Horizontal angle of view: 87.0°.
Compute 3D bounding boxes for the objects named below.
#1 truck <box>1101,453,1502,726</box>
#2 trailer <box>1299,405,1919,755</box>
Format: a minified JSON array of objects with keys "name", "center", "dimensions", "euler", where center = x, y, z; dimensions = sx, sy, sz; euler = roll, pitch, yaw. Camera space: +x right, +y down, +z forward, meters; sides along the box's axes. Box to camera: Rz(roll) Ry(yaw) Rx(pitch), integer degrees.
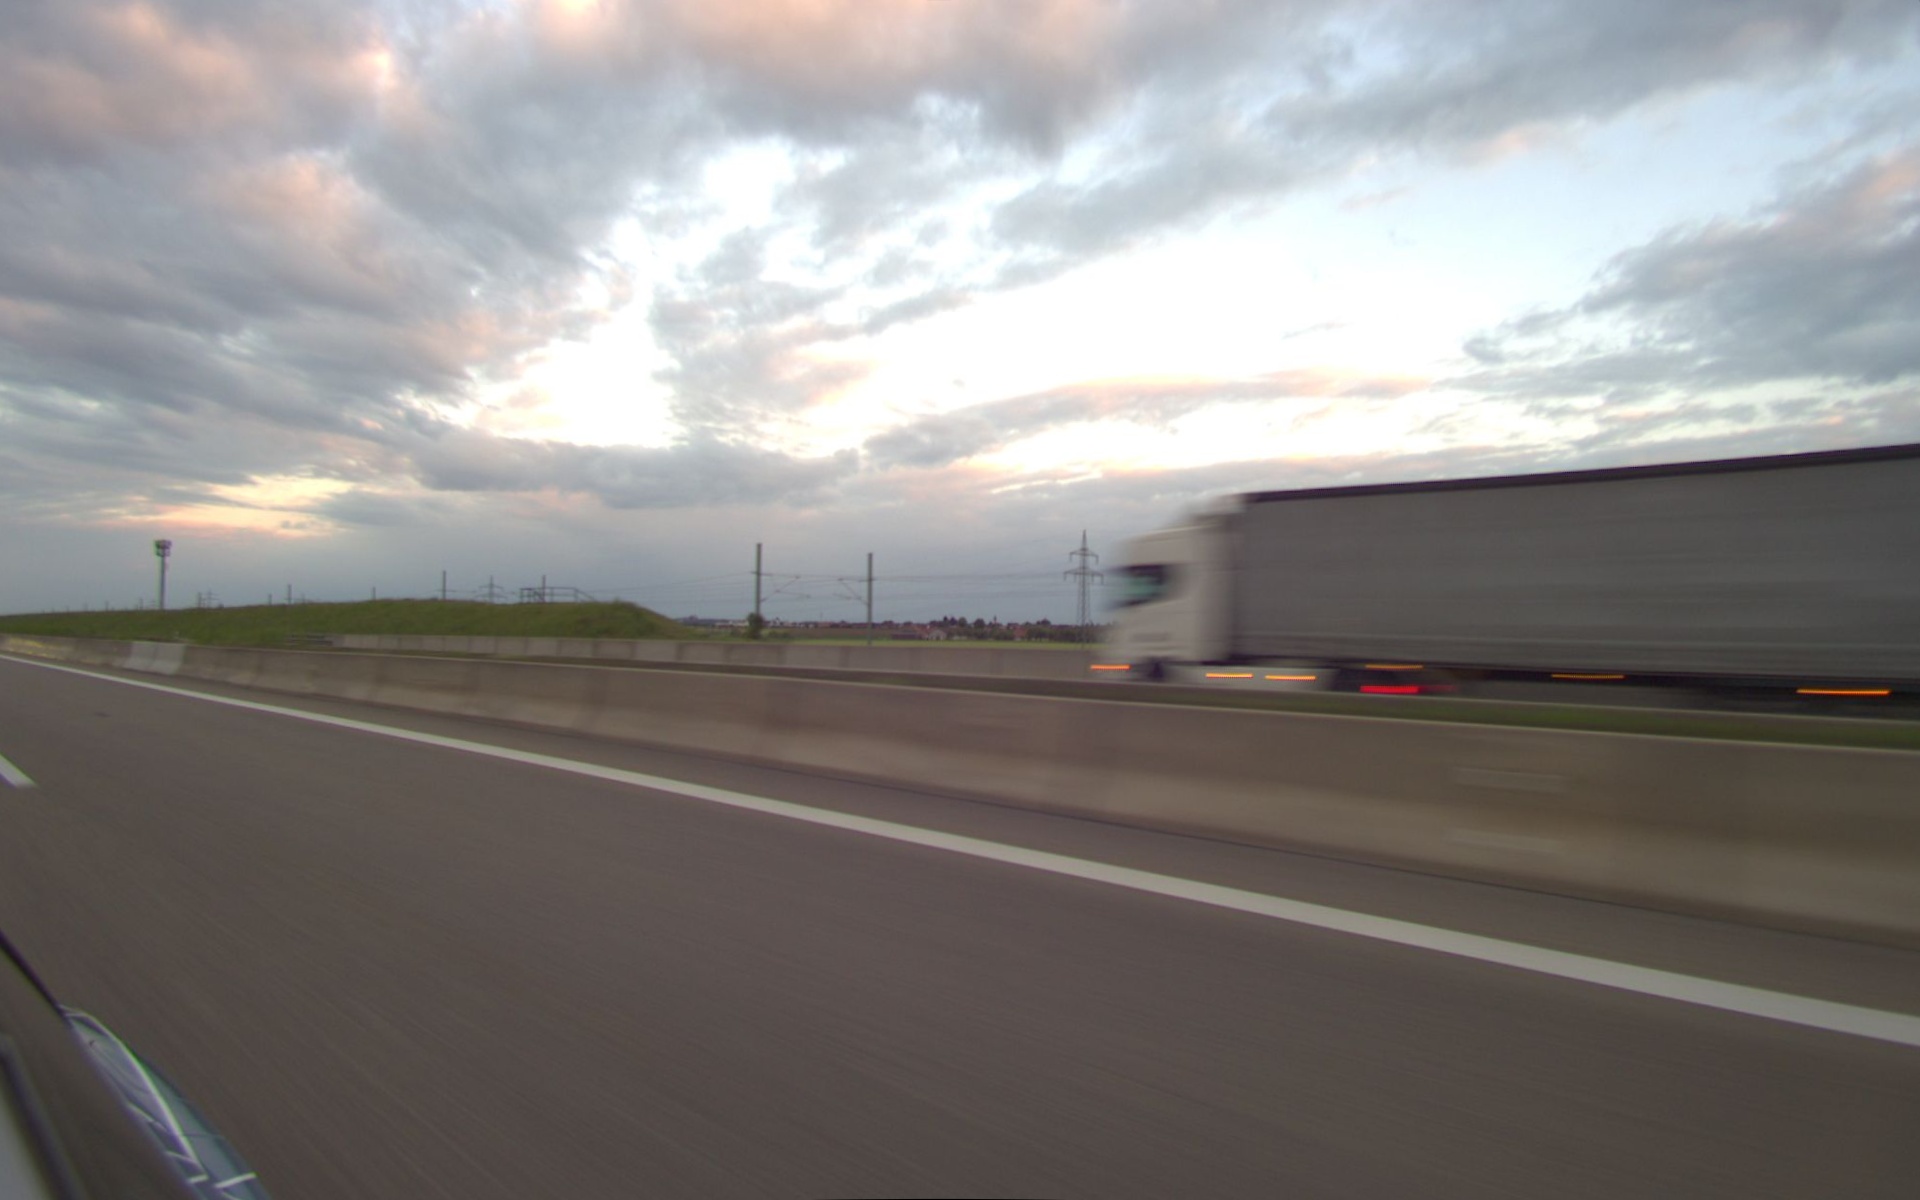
[{"name":"truck","center":[6.369,-0.112,19.550],"dimensions":[6.735,4.385,2.788],"euler":[-2,-1,41]},{"name":"trailer","center":[11.777,-0.225,14.780],"dimensions":[12.833,4.385,2.788],"euler":[-2,-1,42]}]
